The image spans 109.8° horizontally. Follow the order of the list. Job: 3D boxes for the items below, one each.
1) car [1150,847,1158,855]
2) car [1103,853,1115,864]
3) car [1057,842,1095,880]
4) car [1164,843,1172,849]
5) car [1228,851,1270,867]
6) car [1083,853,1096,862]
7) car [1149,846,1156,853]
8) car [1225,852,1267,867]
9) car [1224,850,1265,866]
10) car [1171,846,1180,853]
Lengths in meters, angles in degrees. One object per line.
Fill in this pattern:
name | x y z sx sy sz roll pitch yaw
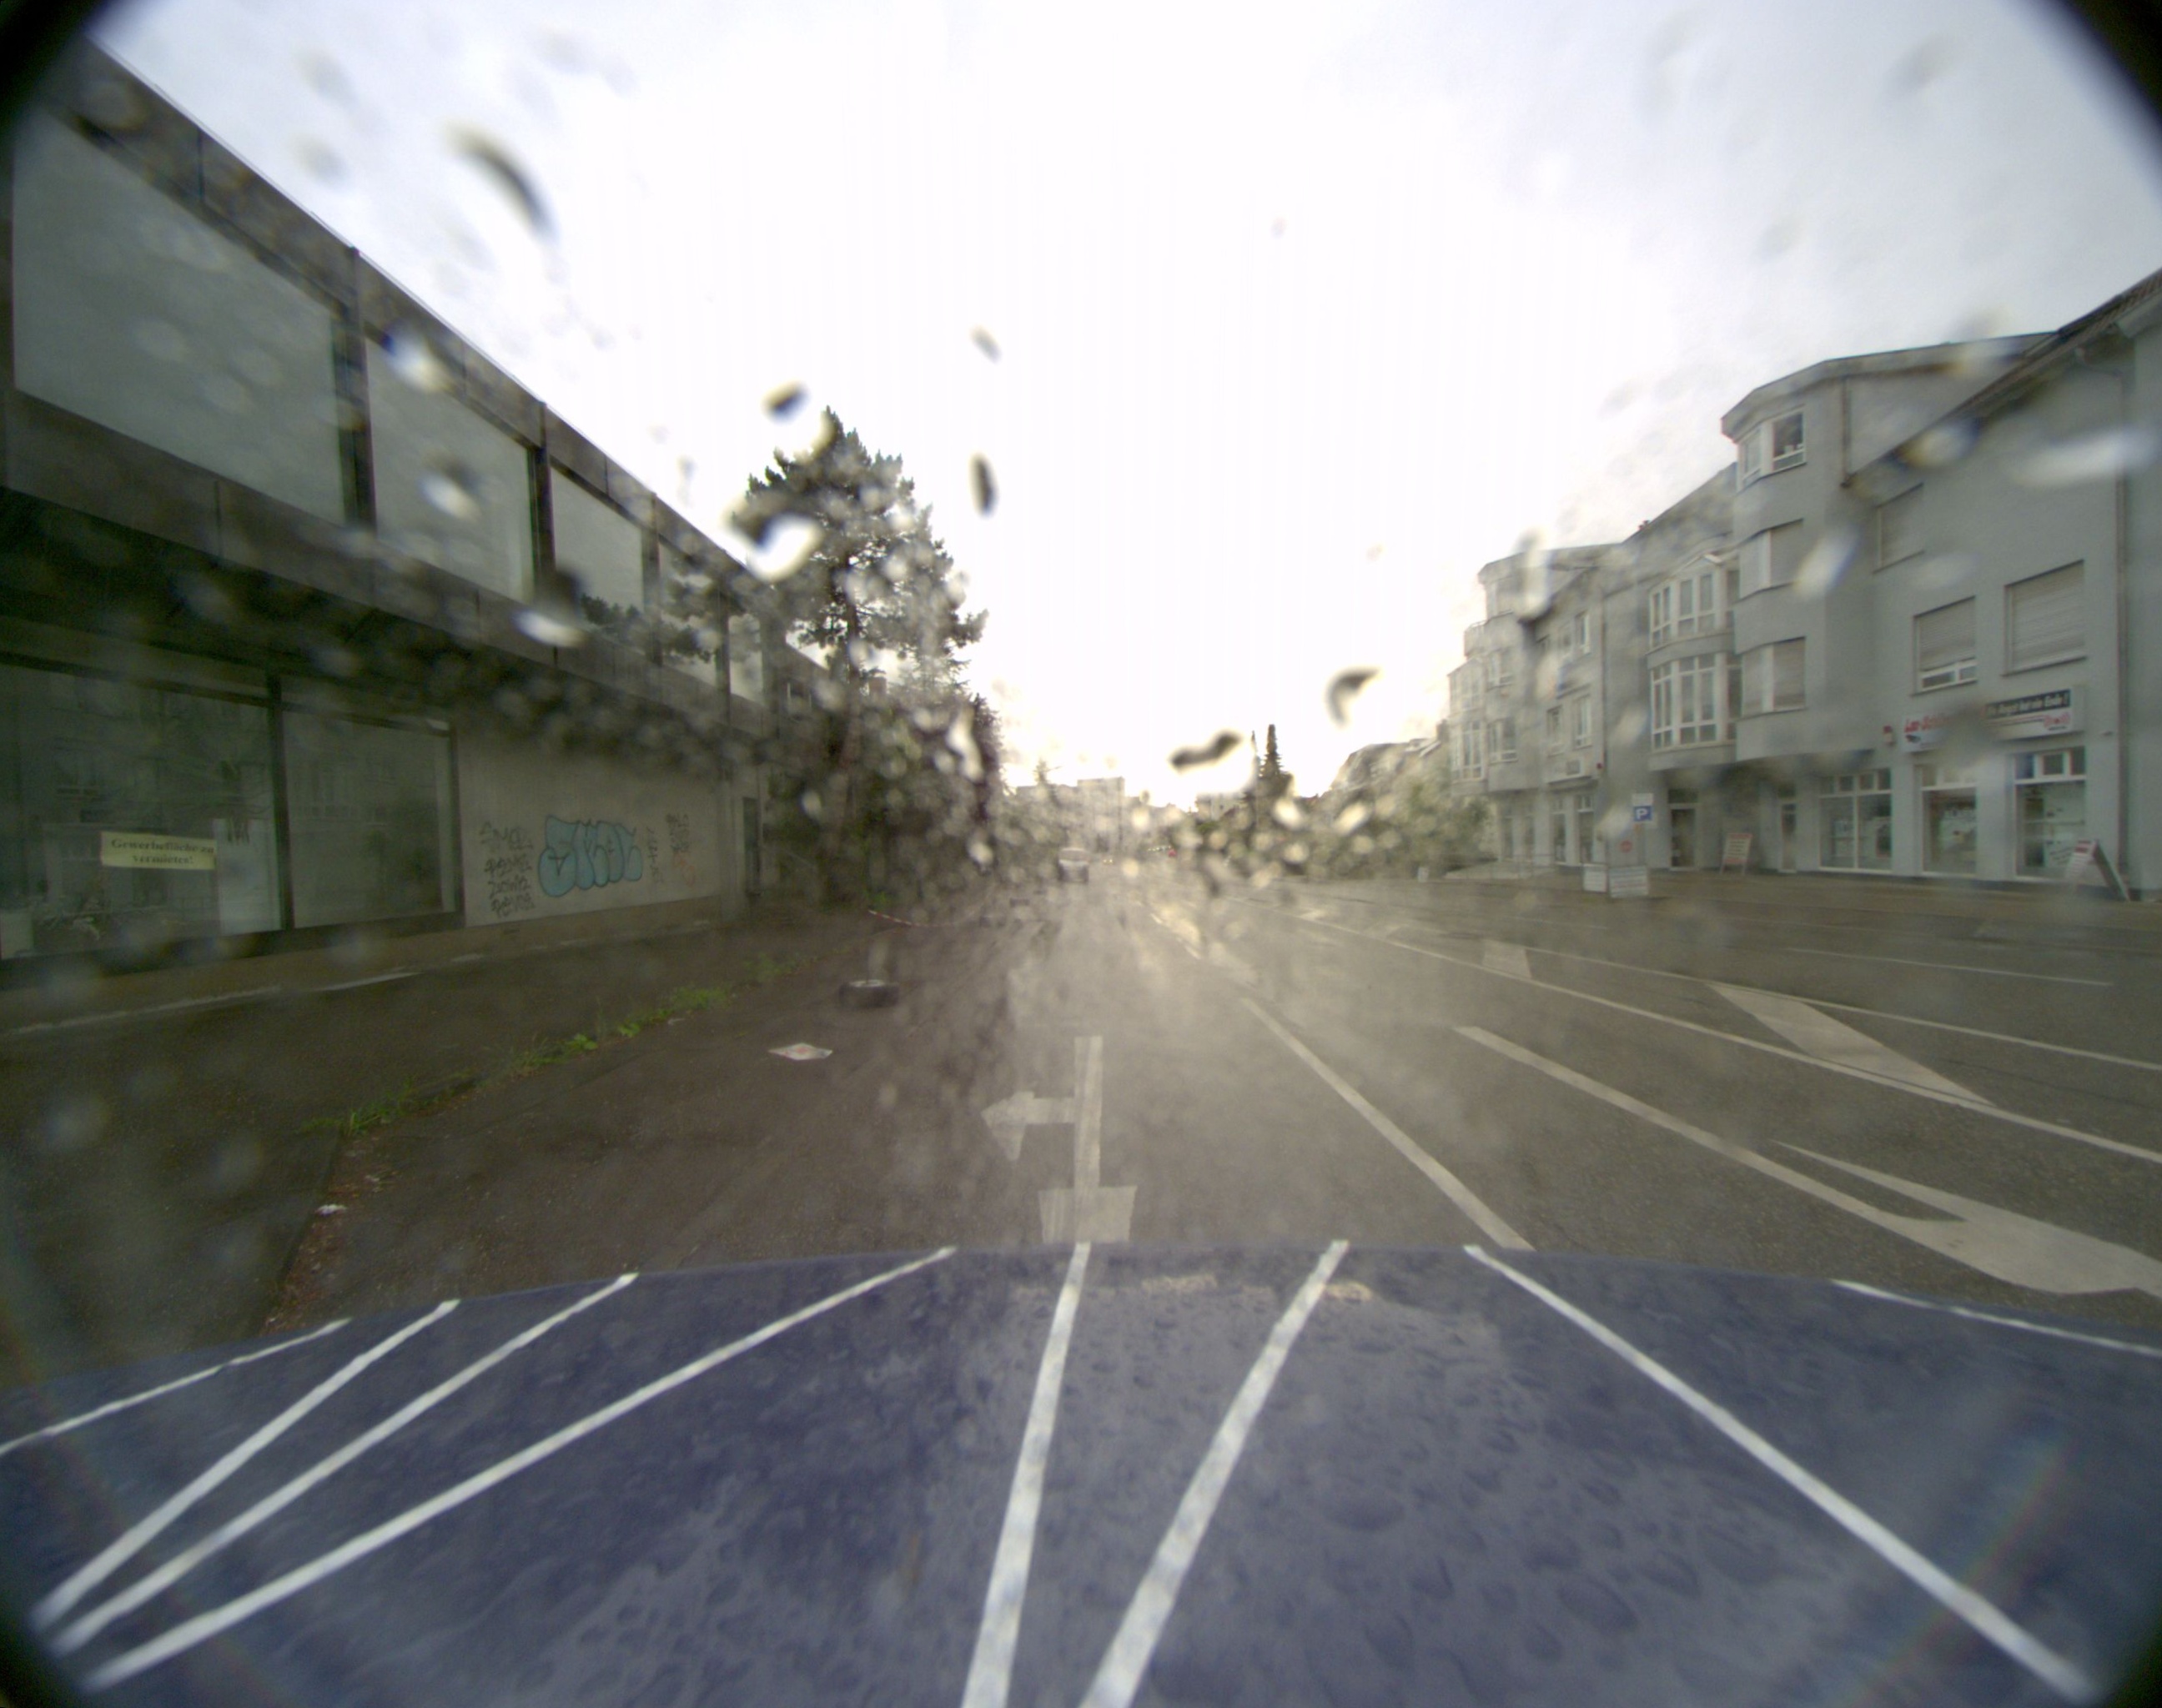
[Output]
car | 17.716 -0.639 184.172 1.851 1.870 4.122 -1 0 5
car | 4.806 0.806 127.875 1.835 1.783 3.838 -3 0 4
car | -0.270 0.438 51.643 2.397 2.417 6.433 -1 0 1
car | 24.512 -2.170 214.535 1.850 1.753 4.124 -1 0 11
car | 17.169 0.547 77.722 4.034 1.434 1.813 -3 0 6
car | 1.488 0.605 133.959 1.912 1.622 3.703 -1 0 5
car | 18.003 -1.033 191.228 1.851 1.753 4.123 -1 0 6
car | 17.405 0.557 80.205 4.155 1.434 1.891 -3 0 8
car | 17.818 0.481 82.916 4.114 1.536 2.001 -3 0 6
car | 22.498 -1.032 180.698 1.997 1.606 4.003 -1 0 11
